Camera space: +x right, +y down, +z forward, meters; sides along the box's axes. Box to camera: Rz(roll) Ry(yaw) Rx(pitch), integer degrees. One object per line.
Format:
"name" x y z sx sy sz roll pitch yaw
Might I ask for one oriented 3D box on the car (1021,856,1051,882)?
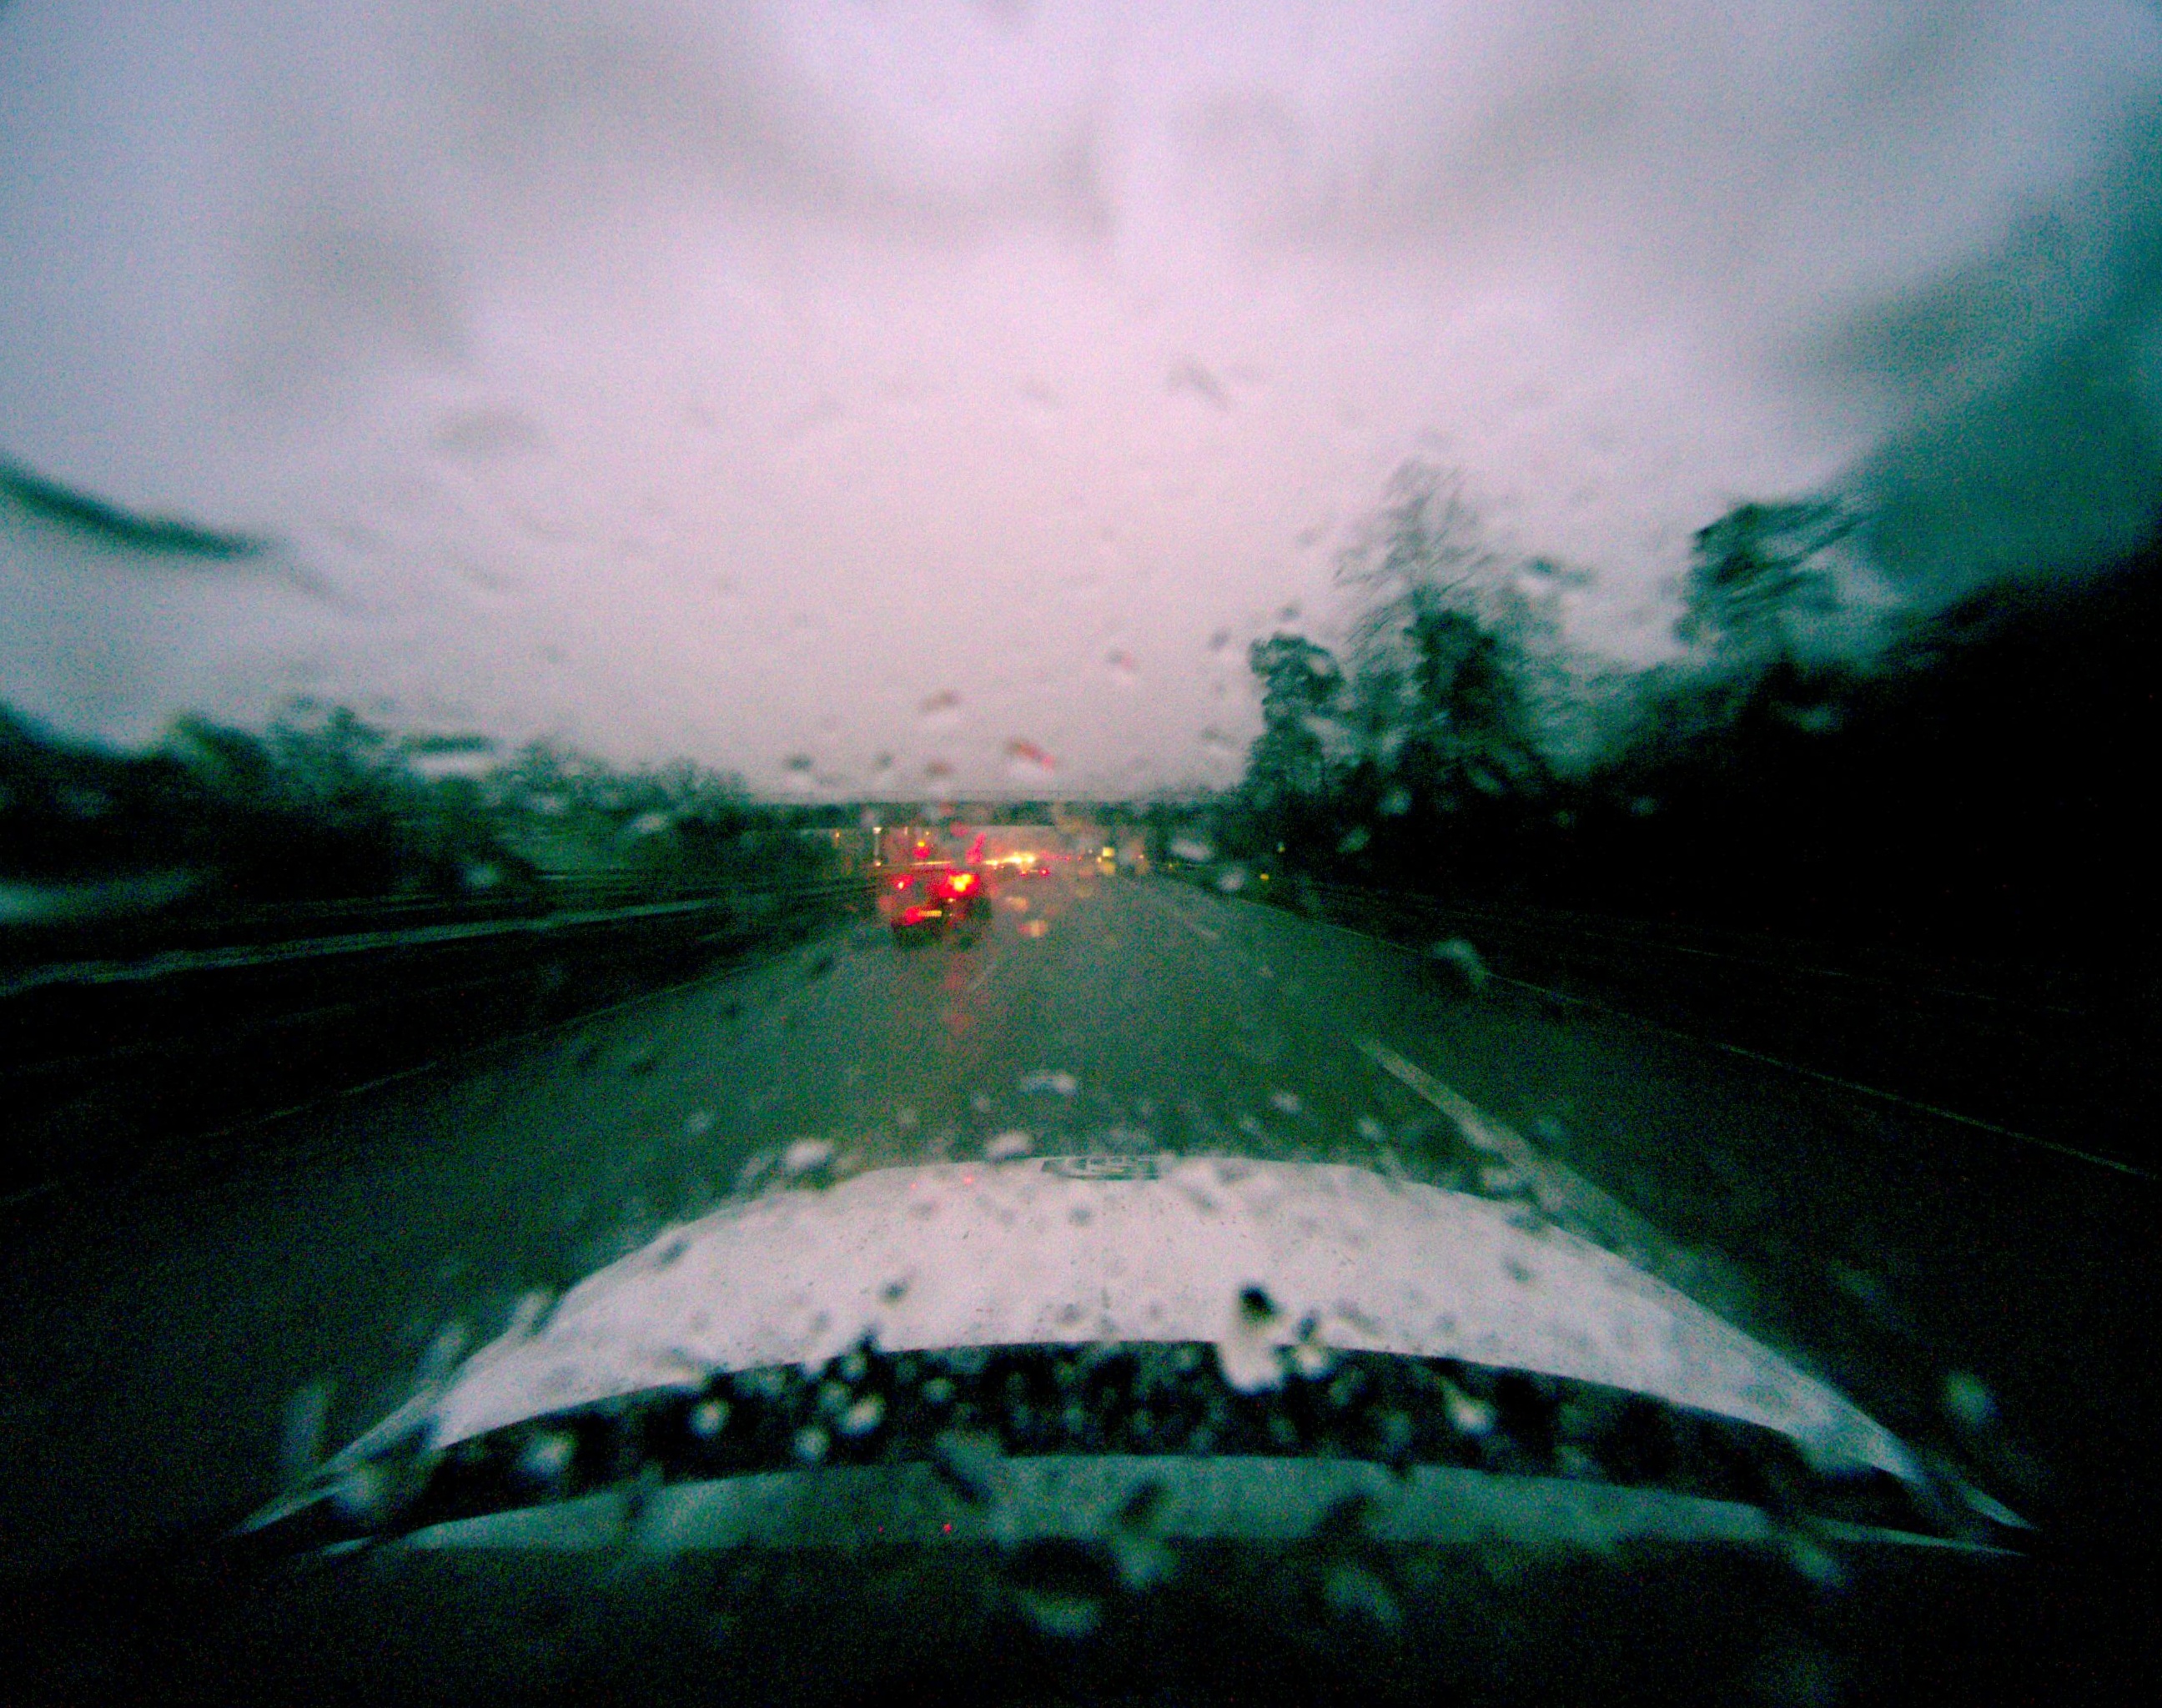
"car" -2.846 0.920 51.857 1.771 1.534 4.698 -2 0 -2

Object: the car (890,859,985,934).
"car" -3.100 0.868 18.153 1.523 1.415 3.477 2 0 -1

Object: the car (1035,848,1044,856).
"car" -10.700 -0.539 210.266 2.121 2.120 3.566 2 0 -8
